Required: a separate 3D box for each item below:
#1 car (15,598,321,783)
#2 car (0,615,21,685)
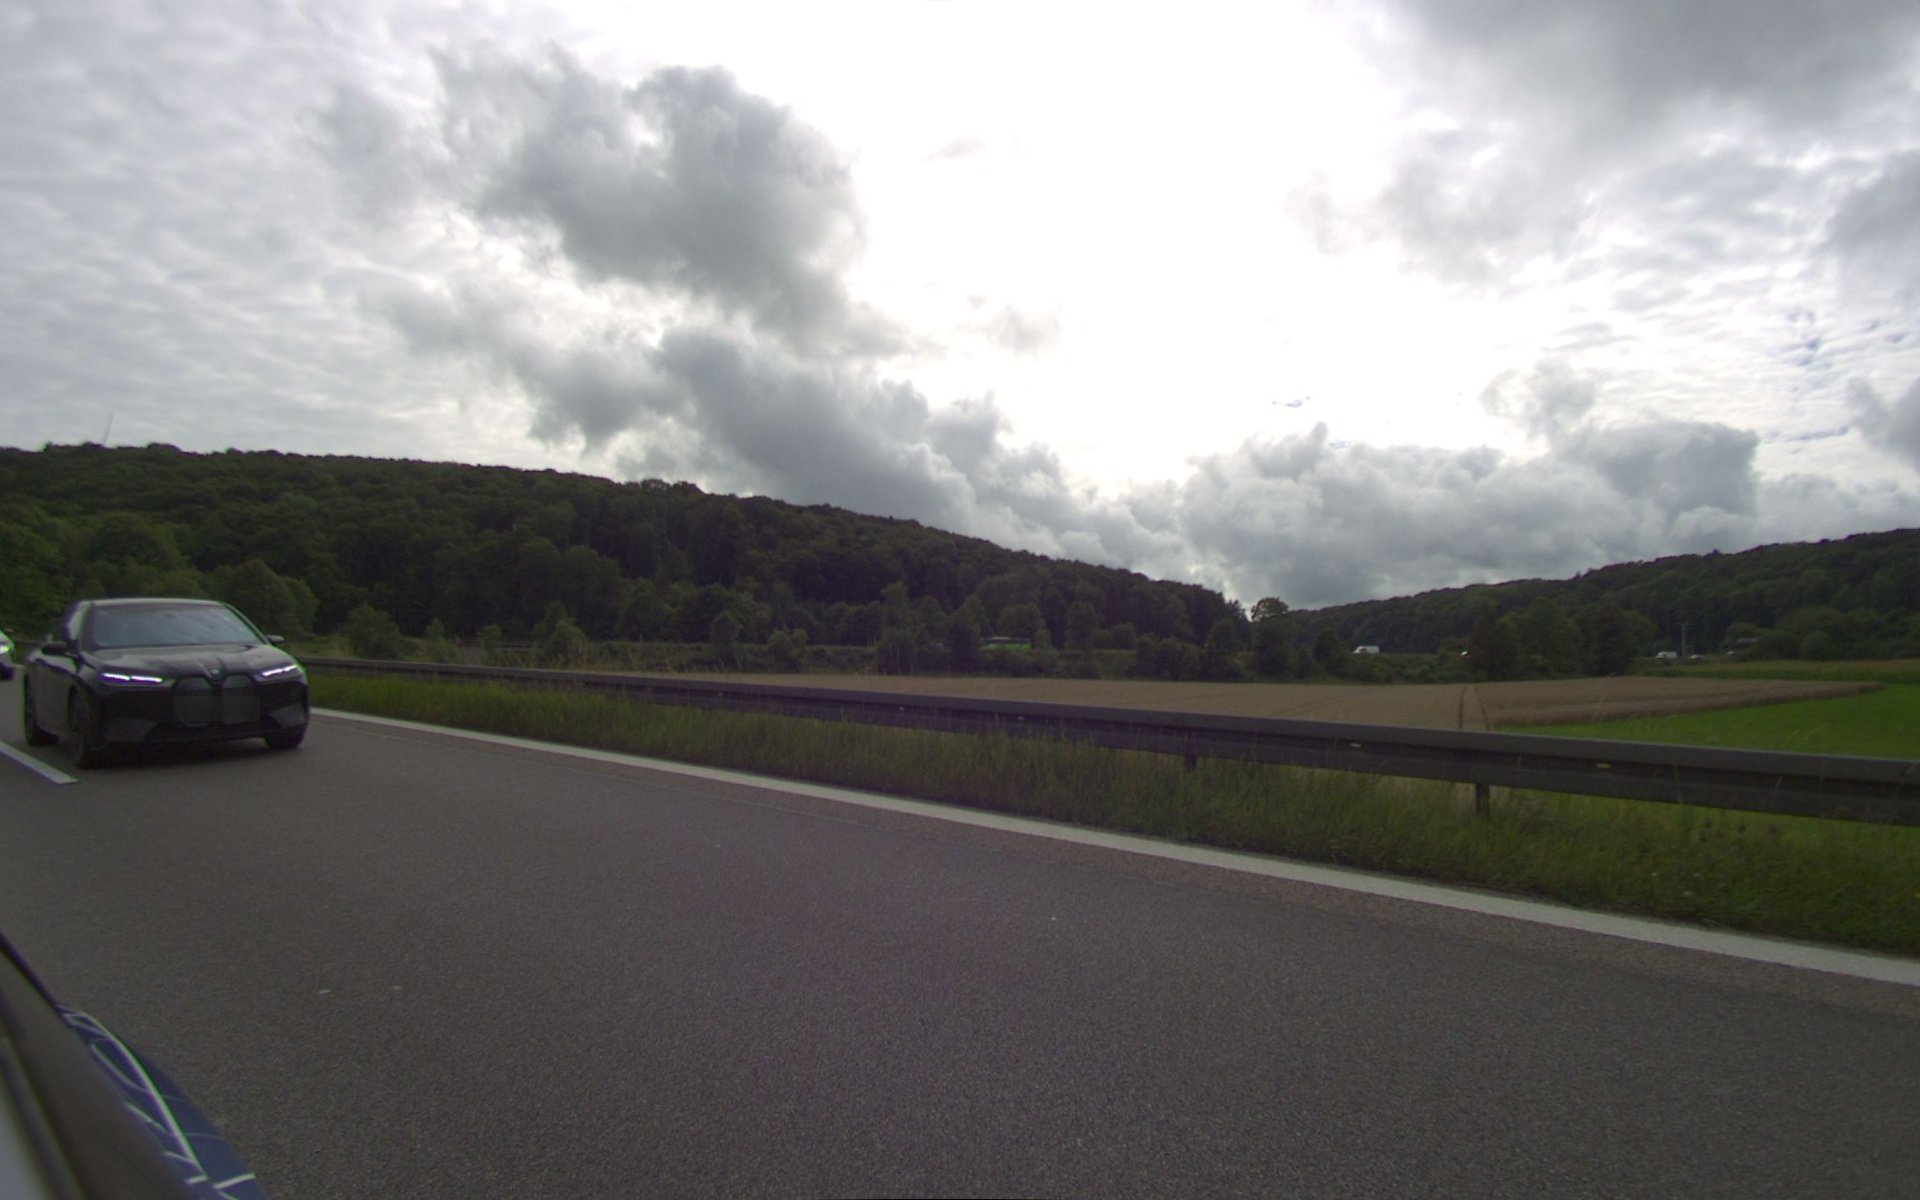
[{"bbox_3d":[-9.055,0.860,11.429,4.413,1.678,1.972,-1,-1,42],"label":"car"},{"bbox_3d":[-25.091,1.235,25.076,4.408,1.678,1.975,-2,-2,38],"label":"car"}]
